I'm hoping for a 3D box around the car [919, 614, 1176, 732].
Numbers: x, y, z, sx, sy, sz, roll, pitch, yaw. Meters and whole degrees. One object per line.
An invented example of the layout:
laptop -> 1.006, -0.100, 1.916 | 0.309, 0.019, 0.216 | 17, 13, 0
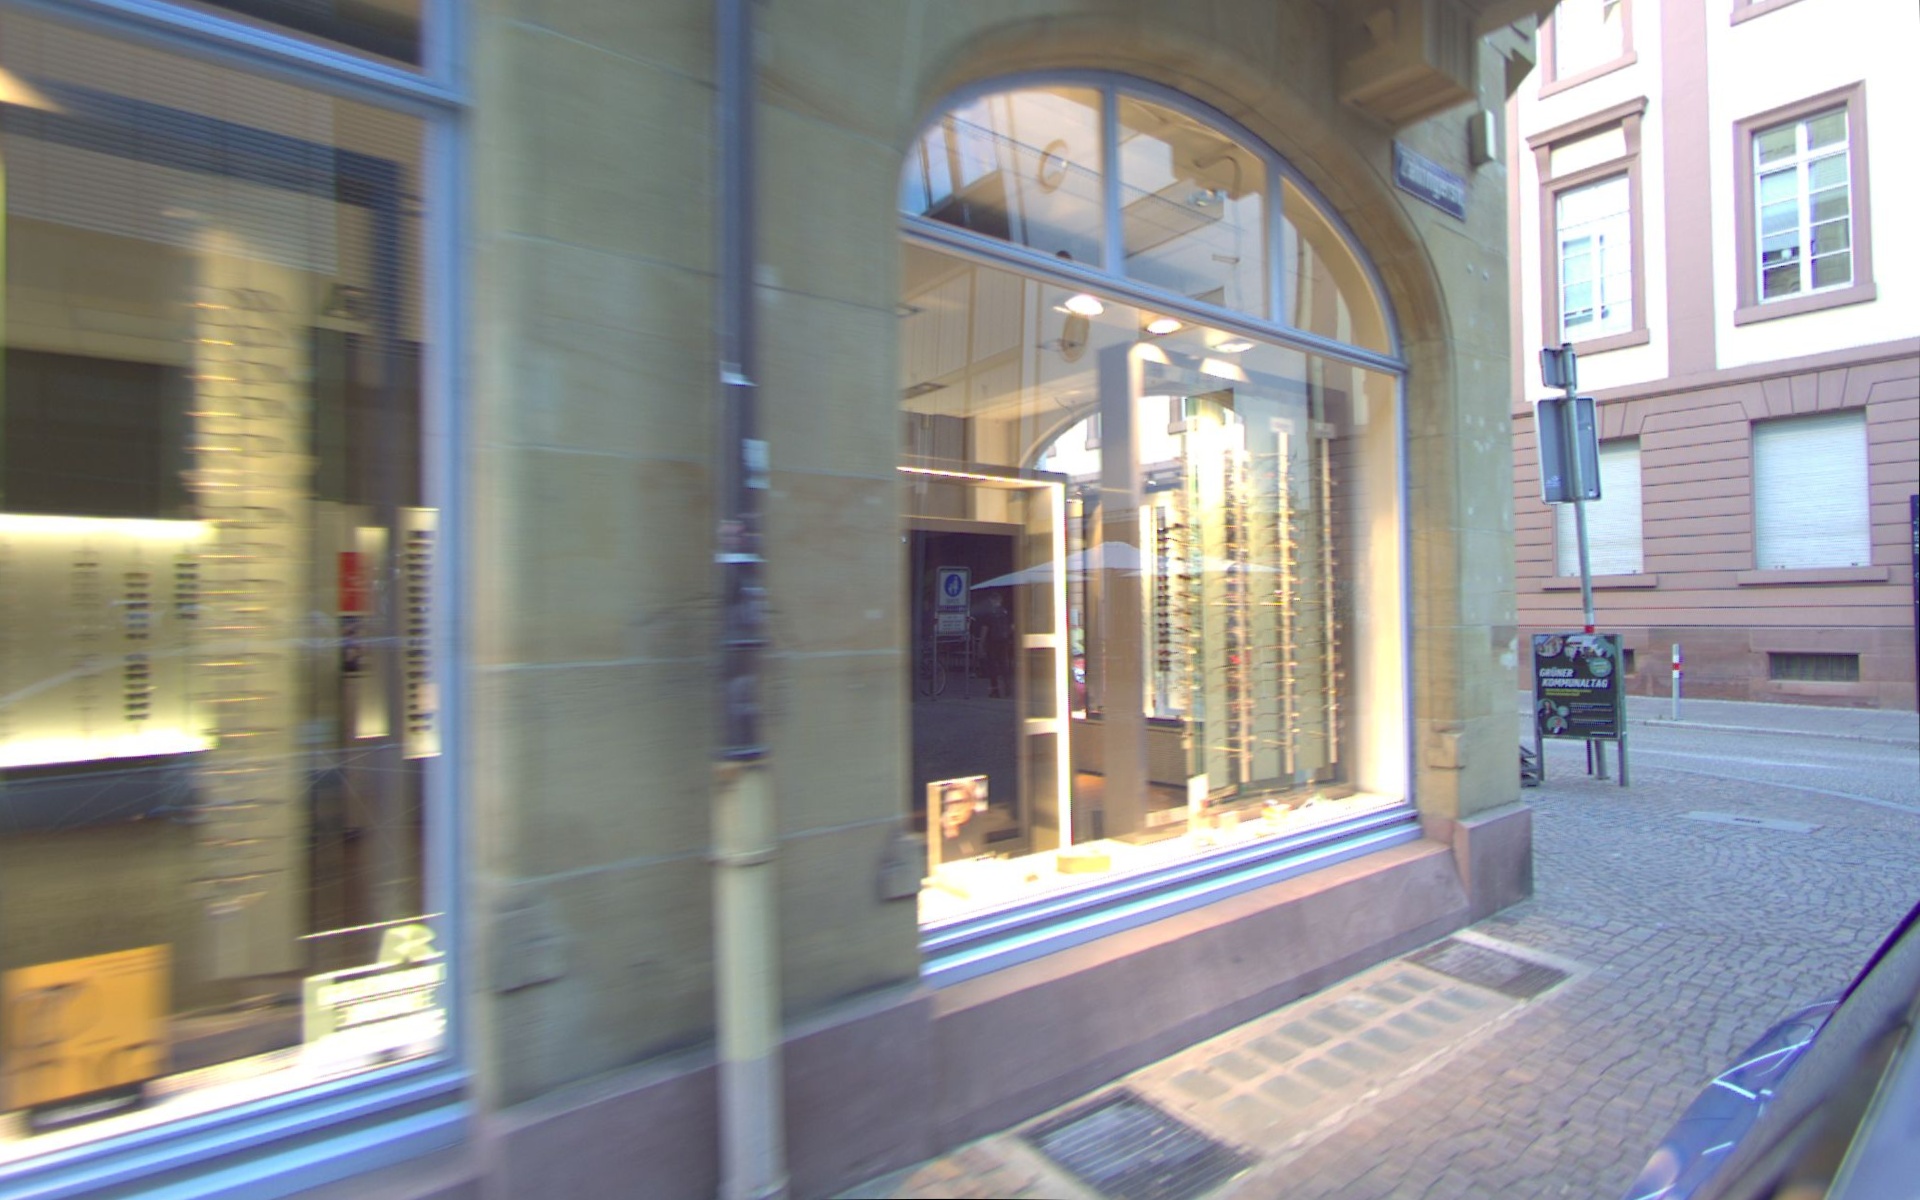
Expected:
car -> 1.198, 1.005, 15.449 | 1.620, 1.460, 3.997 | -3, 1, -37
